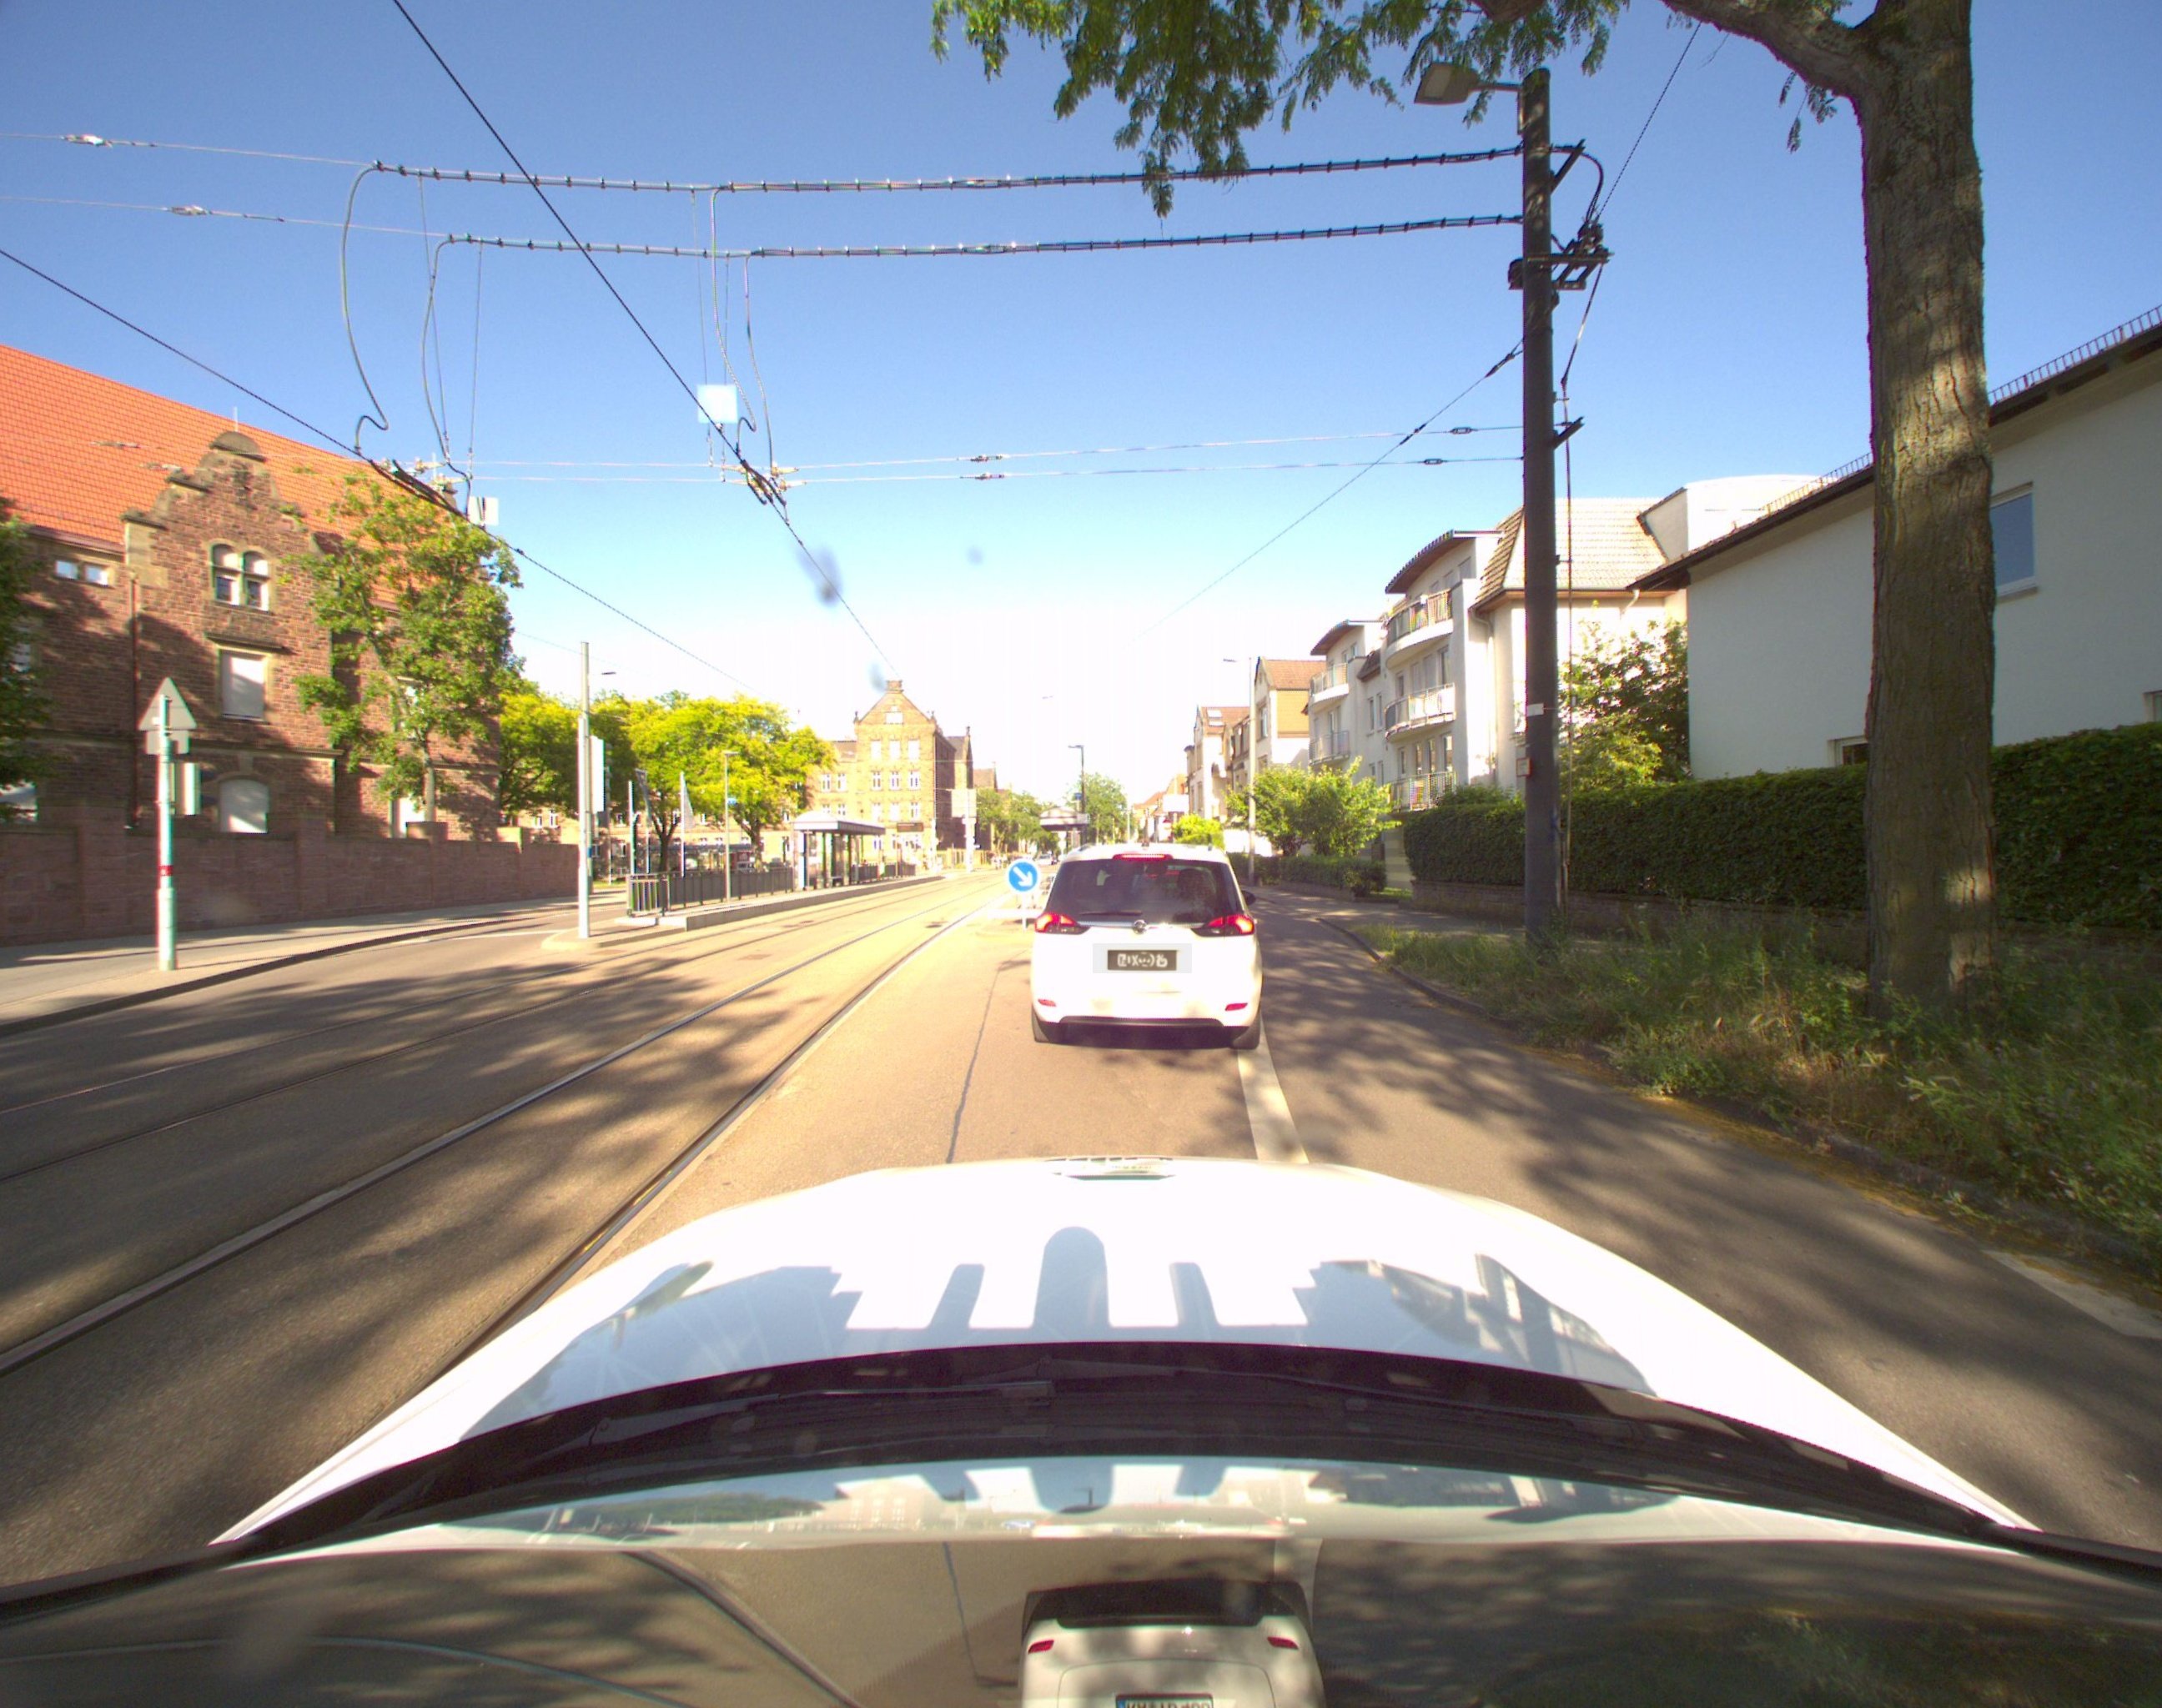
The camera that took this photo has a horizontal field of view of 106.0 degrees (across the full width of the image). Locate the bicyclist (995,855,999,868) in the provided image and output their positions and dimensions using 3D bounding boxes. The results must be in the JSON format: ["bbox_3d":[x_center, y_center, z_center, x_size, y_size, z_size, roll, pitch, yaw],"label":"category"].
[{"bbox_3d":[-10.695,0.958,103.733,0.443,1.553,0.742,-1,0,-2],"label":"bicyclist"}]

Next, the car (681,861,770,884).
[{"bbox_3d":[-32.951,1.705,75.702,6.926,1.921,2.992,-1,0,0],"label":"car"}]

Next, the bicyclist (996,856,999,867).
[{"bbox_3d":[-10.967,0.988,107.024,0.443,1.553,0.495,-1,0,-2],"label":"bicyclist"}]

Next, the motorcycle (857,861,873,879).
[{"bbox_3d":[-14.911,1.096,56.236,0.610,1.198,2.074,-1,0,-2],"label":"motorcycle"}]

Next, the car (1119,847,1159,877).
[{"bbox_3d":[3.133,0.419,44.374,1.986,1.503,4.002,-1,0,2],"label":"car"}]

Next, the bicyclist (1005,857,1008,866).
[{"bbox_3d":[-10.202,1.009,112.101,0.358,1.303,0.397,-1,0,-2],"label":"bicyclist"}]

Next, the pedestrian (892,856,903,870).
[{"bbox_3d":[-20.129,0.995,89.376,0.939,1.588,0.796,0,-1,-37],"label":"pedestrian"}]

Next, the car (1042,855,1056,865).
[{"bbox_3d":[-5.117,0.920,130.990,1.987,1.629,4.000,-1,0,0],"label":"car"}]

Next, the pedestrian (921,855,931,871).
[{"bbox_3d":[-17.007,0.999,89.140,0.839,1.691,1.029,0,-1,1],"label":"pedestrian"}]

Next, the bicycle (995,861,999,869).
[{"bbox_3d":[-10.703,1.424,103.523,0.343,0.950,1.160,0,-1,-1],"label":"bicycle"}]

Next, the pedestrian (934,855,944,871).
[{"bbox_3d":[-15.601,0.985,89.519,0.892,1.684,1.029,0,-1,1],"label":"pedestrian"}]

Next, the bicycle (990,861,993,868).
[{"bbox_3d":[-12.665,1.537,115.636,0.343,0.950,0.996,0,-1,-1],"label":"bicycle"}]

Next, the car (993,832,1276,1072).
[{"bbox_3d":[0.646,0.685,7.702,1.982,1.644,4.003,0,0,8],"label":"car"}]

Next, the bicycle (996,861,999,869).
[{"bbox_3d":[-10.992,1.455,107.065,0.343,0.950,0.996,0,-1,-1],"label":"bicycle"}]

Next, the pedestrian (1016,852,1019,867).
[{"bbox_3d":[-8.757,0.785,112.340,0.443,2.013,0.495,-1,0,-2],"label":"pedestrian"}]

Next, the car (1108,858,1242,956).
[{"bbox_3d":[1.535,0.793,14.063,1.944,1.397,4.005,-1,0,4],"label":"car"}]

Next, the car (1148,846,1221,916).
[{"bbox_3d":[2.577,0.640,20.892,1.630,1.601,3.859,-1,0,4],"label":"car"}]

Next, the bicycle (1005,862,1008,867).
[{"bbox_3d":[-10.193,1.474,112.102,0.343,0.725,0.996,0,-1,-1],"label":"bicycle"}]

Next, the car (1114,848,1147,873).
[{"bbox_3d":[3.108,0.390,51.841,1.986,1.503,4.002,-1,0,2],"label":"car"}]

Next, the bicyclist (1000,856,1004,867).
[{"bbox_3d":[-10.650,1.007,109.603,0.443,1.553,0.495,-1,0,-2],"label":"bicyclist"}]

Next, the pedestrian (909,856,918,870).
[{"bbox_3d":[-18.366,0.983,89.486,0.799,1.588,0.934,0,-1,0],"label":"pedestrian"}]

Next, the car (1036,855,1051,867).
[{"bbox_3d":[-5.284,0.964,114.743,1.989,1.629,3.996,-1,0,-3],"label":"car"}]

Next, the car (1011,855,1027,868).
[{"bbox_3d":[-8.180,0.934,107.479,1.989,1.629,3.996,-1,0,-3],"label":"car"}]

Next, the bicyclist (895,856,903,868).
[{"bbox_3d":[-20.992,0.952,94.037,0.756,1.430,0.516,0,-1,-1],"label":"bicyclist"}]

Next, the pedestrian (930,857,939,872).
[{"bbox_3d":[-17.232,1.218,95.990,0.728,1.714,0.710,-1,-1,24],"label":"pedestrian"}]

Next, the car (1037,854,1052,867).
[{"bbox_3d":[-4.803,0.902,107.621,1.989,1.629,3.996,-1,0,-3],"label":"car"}]

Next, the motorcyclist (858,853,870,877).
[{"bbox_3d":[-14.915,0.767,56.079,0.612,1.621,0.844,-1,0,-3],"label":"motorcyclist"}]

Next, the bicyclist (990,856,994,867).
[{"bbox_3d":[-12.672,1.069,115.602,0.443,1.553,0.495,-1,0,-2],"label":"bicyclist"}]

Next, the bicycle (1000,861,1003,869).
[{"bbox_3d":[-10.649,1.473,109.608,0.343,0.950,0.996,0,-1,-1],"label":"bicycle"}]

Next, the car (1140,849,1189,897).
[{"bbox_3d":[2.948,0.638,29.318,1.630,1.601,3.859,-1,0,4],"label":"car"}]

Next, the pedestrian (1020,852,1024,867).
[{"bbox_3d":[-8.127,0.783,112.653,0.443,2.013,0.495,-1,0,-2],"label":"pedestrian"}]

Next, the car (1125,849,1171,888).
[{"bbox_3d":[2.935,0.615,36.248,1.824,1.579,4.012,-1,0,2],"label":"car"}]
